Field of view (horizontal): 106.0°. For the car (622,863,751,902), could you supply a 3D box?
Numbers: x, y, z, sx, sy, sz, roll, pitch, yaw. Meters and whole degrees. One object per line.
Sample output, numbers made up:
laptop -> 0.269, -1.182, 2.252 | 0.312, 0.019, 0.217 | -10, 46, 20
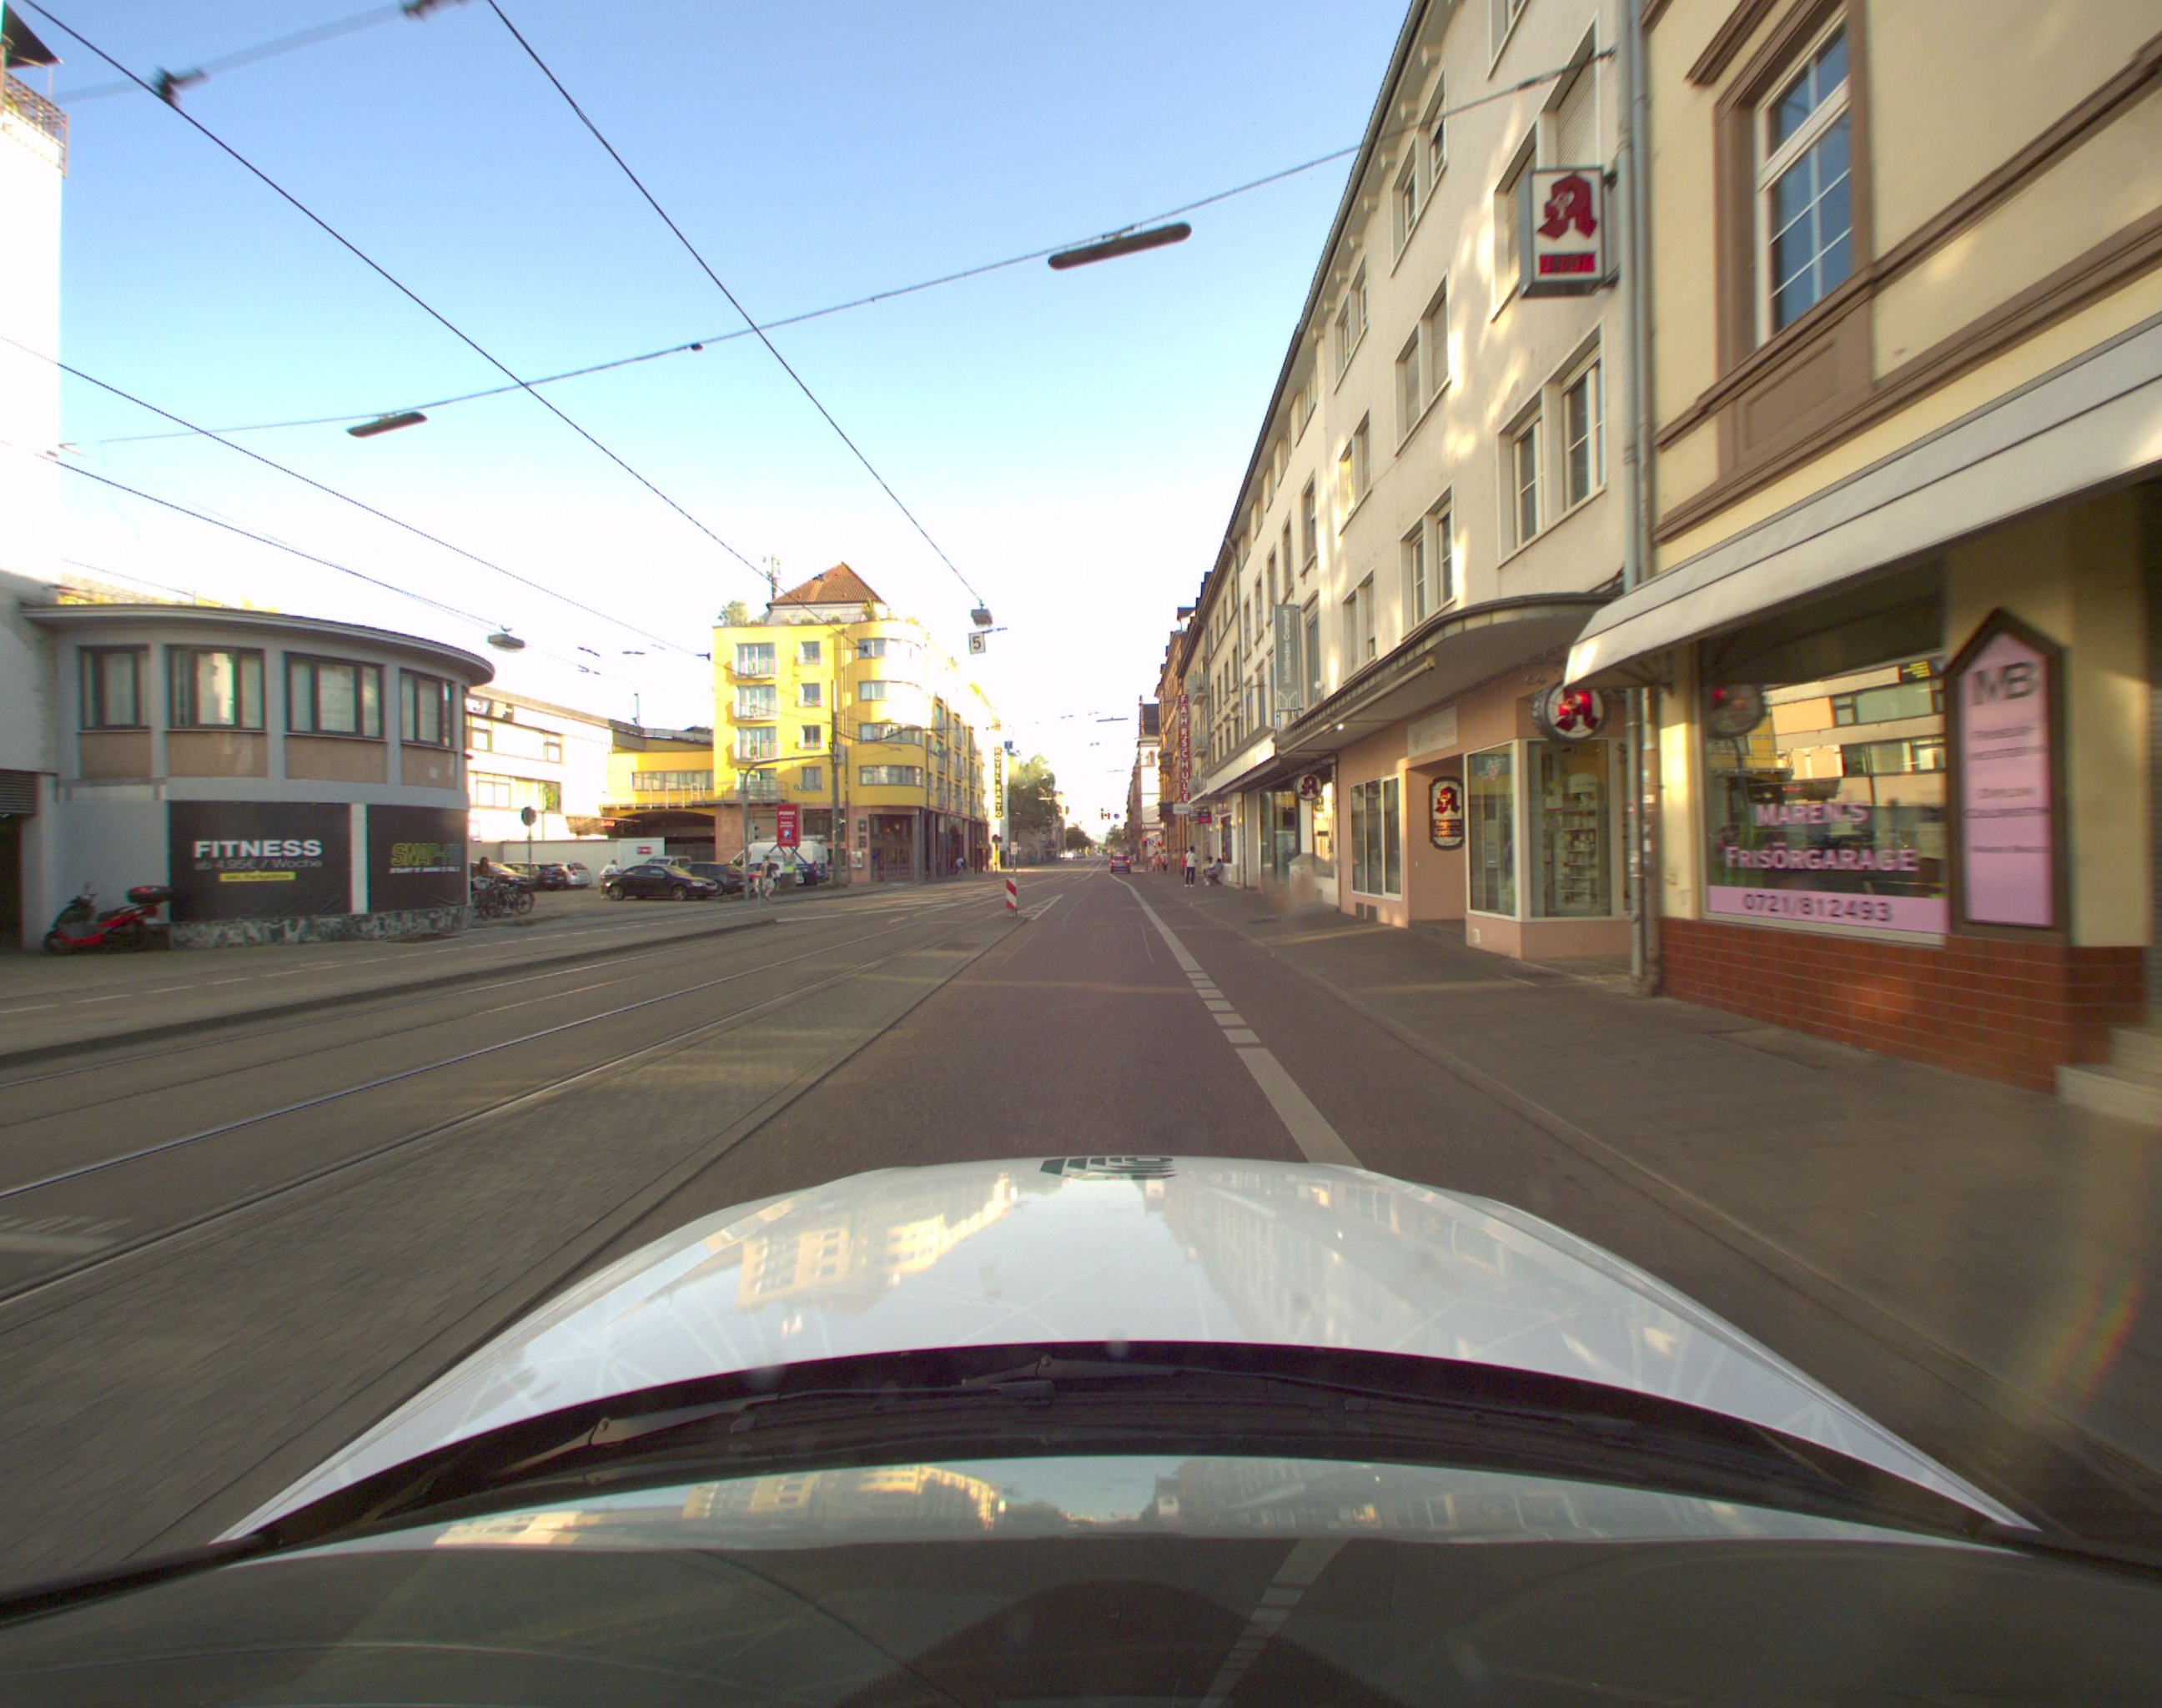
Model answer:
car -> -16.799, 1.196, 34.835 | 4.570, 1.475, 1.881 | -1, 0, 2

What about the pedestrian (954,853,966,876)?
pedestrian -> -9.871, 0.829, 66.453 | 0.749, 1.818, 1.046 | 3, 0, 2

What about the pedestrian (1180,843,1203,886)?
pedestrian -> 4.941, 0.465, 36.511 | 0.699, 1.812, 0.682 | -7, 0, 17

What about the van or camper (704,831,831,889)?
van or camper -> -16.250, 0.288, 42.433 | 5.583, 2.827, 2.317 | -1, 0, 2

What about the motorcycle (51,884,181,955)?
motorcycle -> -18.286, 1.232, 15.445 | 1.750, 1.278, 0.562 | 1, 0, -1

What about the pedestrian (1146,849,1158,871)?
pedestrian -> 6.222, 0.518, 71.431 | 0.802, 1.799, 0.762 | -5, 0, 2

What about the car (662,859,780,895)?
car -> -16.529, 1.028, 37.516 | 4.570, 1.475, 1.881 | -1, 0, 2

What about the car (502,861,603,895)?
car -> -27.857, 1.244, 43.048 | 3.974, 1.700, 2.000 | -1, 0, -1

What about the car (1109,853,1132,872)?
car -> 3.480, 0.762, 72.266 | 1.986, 1.618, 4.002 | -1, 0, 2

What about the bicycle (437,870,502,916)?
bicycle -> -17.327, 1.076, 23.113 | 0.446, 1.187, 1.831 | -1, 0, 0

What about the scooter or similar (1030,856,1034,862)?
scooter or similar -> -8.857, 0.949, 146.515 | 0.515, 1.045, 1.478 | -1, 0, 0

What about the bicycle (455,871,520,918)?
bicycle -> -16.465, 1.091, 22.628 | 0.446, 1.187, 1.831 | -1, 0, 0

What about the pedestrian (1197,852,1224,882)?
pedestrian -> 5.993, 0.592, 37.736 | 0.834, 1.255, 0.699 | -7, 0, -33

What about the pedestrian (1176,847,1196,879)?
pedestrian -> 5.679, 0.496, 44.000 | 0.795, 1.627, 0.826 | -7, 0, 2

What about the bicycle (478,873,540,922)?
bicycle -> -15.471, 1.155, 22.067 | 0.444, 1.187, 1.829 | -1, 0, -4

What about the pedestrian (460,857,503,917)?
pedestrian -> -17.377, 0.944, 23.613 | 0.678, 1.697, 0.683 | -1, 0, 0

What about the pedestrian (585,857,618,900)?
pedestrian -> -19.159, 0.961, 32.552 | 0.766, 1.669, 0.837 | -1, 0, 3

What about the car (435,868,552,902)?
car -> -27.623, 1.440, 38.385 | 3.974, 1.508, 2.000 | -1, 0, -1

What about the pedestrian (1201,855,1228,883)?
pedestrian -> 5.987, 0.676, 36.650 | 0.706, 1.174, 1.010 | -7, 0, -17

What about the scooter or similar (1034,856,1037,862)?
scooter or similar -> -8.141, 0.967, 146.570 | 0.515, 1.057, 1.478 | -1, 0, 0

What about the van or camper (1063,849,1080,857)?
van or camper -> -2.872, -0.269, 243.574 | 4.663, 2.563, 1.981 | 0, -1, -29

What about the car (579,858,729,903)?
car -> -16.786, 1.022, 32.143 | 4.875, 1.583, 1.881 | -1, 0, 2

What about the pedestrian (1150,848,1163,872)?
pedestrian -> 5.898, 0.454, 63.828 | 0.803, 1.799, 0.761 | -5, 0, 0

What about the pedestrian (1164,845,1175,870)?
pedestrian -> 6.836, 0.253, 62.960 | 0.688, 1.908, 0.670 | -5, 0, 0

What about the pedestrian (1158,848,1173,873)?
pedestrian -> 6.194, 0.465, 59.602 | 0.803, 1.799, 1.092 | -5, 0, 0

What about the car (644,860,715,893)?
car -> -23.320, 1.277, 47.440 | 1.987, 1.736, 4.121 | -1, 0, 1

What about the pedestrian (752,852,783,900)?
pedestrian -> -12.356, 0.867, 32.111 | 0.830, 1.832, 0.910 | -1, 0, 2

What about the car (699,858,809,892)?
car -> -15.978, 1.013, 39.932 | 4.570, 1.475, 1.881 | -1, 0, 2

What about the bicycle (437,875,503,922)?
bicycle -> -16.920, 1.212, 22.608 | 0.441, 1.187, 1.831 | -1, 0, 0

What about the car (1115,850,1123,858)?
car -> 9.067, 0.022, 195.244 | 1.942, 1.684, 4.003 | -1, 0, 3

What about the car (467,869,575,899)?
car -> -27.894, 1.467, 40.647 | 3.974, 1.354, 2.000 | -1, 0, -1

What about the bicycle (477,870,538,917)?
bicycle -> -15.934, 1.081, 22.670 | 0.439, 1.187, 1.829 | -1, 0, -3
